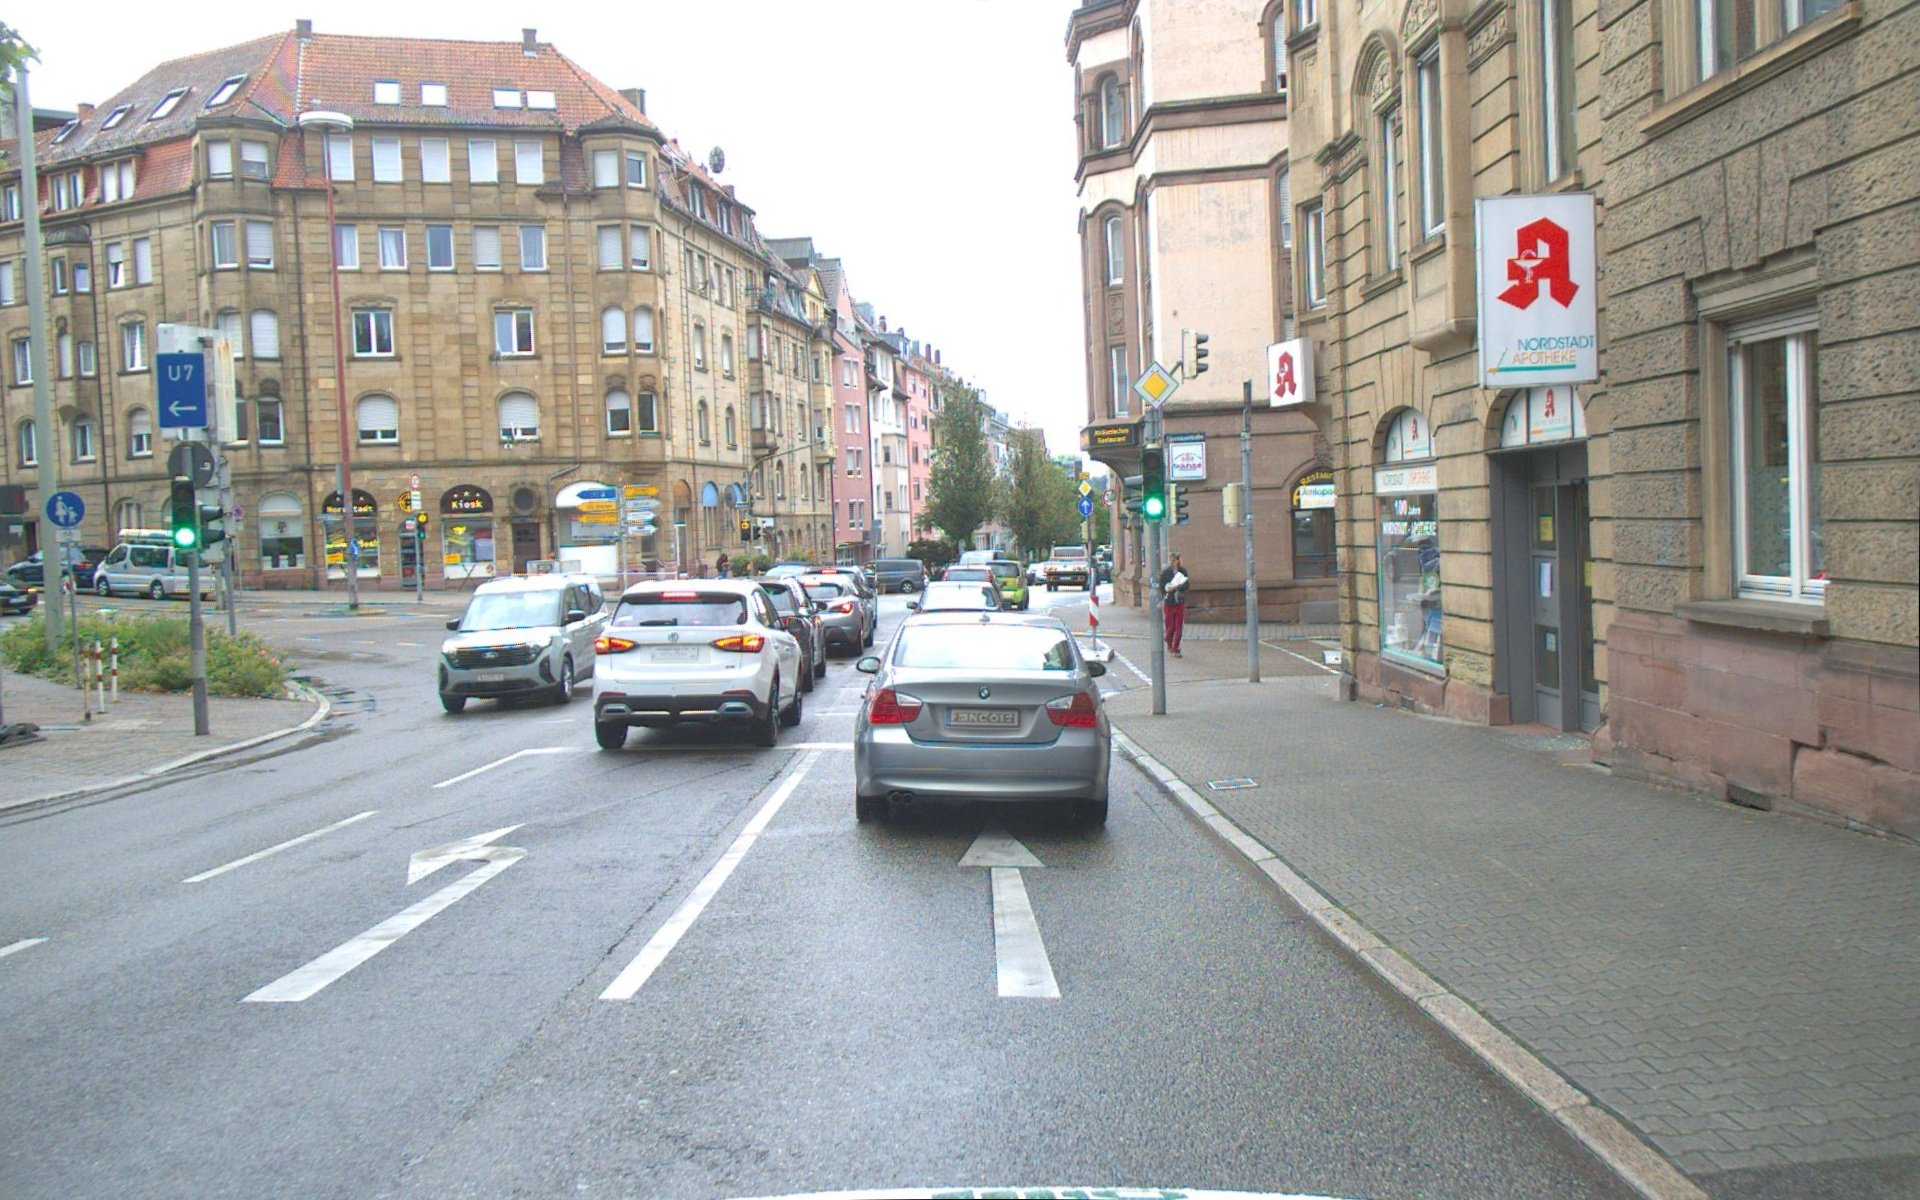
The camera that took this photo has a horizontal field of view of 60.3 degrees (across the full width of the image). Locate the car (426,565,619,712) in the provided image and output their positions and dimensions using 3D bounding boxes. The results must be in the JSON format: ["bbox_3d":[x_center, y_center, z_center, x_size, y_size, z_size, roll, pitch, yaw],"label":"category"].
[{"bbox_3d":[-6.380,0.509,24.598,1.725,1.959,4.323,-1,0,-1],"label":"car"}]

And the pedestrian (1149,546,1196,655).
[{"bbox_3d":[3.856,0.013,30.068,0.727,1.943,0.659,-1,0,-1],"label":"pedestrian"}]

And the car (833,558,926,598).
[{"bbox_3d":[-4.506,-1.219,93.482,5.071,2.049,2.698,1,-1,-1],"label":"car"}]

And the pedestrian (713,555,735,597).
[{"bbox_3d":[-9.141,-0.920,64.051,0.716,1.605,0.528,-1,0,8],"label":"pedestrian"}]

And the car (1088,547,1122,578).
[{"bbox_3d":[8.386,-2.151,96.039,1.689,1.580,4.001,1,-1,2],"label":"car"}]

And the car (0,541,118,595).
[{"bbox_3d":[-33.409,-1.214,61.182,4.197,1.870,1.997,2,2,28],"label":"car"}]

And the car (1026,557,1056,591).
[{"bbox_3d":[5.233,-1.645,106.450,1.689,2.049,4.002,1,-1,5],"label":"car"}]

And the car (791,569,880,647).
[{"bbox_3d":[-2.857,0.166,38.677,1.723,1.737,4.000,0,0,1],"label":"car"}]

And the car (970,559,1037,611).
[{"bbox_3d":[1.444,-0.491,53.465,1.722,1.594,4.003,0,0,8],"label":"car"}]

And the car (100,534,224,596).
[{"bbox_3d":[-28.774,-1.293,59.621,4.197,2.138,1.997,2,2,28],"label":"car"}]

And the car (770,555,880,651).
[{"bbox_3d":[-2.552,0.040,31.973,1.723,1.737,4.000,0,0,1],"label":"car"}]

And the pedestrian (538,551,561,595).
[{"bbox_3d":[-15.333,-0.996,61.767,0.709,1.605,0.533,-1,0,-28],"label":"pedestrian"}]

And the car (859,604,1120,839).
[{"bbox_3d":[0.210,0.747,11.902,1.590,1.407,3.615,0,0,1],"label":"car"}]

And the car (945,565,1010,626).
[{"bbox_3d":[0.470,-0.130,42.692,1.562,1.490,4.001,-1,0,1],"label":"car"}]

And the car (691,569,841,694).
[{"bbox_3d":[-2.859,0.432,25.148,1.723,1.737,4.000,0,0,1],"label":"car"}]

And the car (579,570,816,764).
[{"bbox_3d":[-2.619,0.589,17.410,1.830,1.653,4.000,-2,2,-1],"label":"car"}]

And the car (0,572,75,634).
[{"bbox_3d":[-28.617,0.056,49.379,4.157,1.756,1.996,1,2,31],"label":"car"}]

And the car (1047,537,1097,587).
[{"bbox_3d":[5.029,-1.695,74.774,1.953,2.143,4.000,0,0,0],"label":"car"}]

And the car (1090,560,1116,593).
[{"bbox_3d":[9.435,-1.515,108.933,1.689,2.049,4.002,1,-1,5],"label":"car"}]

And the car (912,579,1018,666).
[{"bbox_3d":[0.114,0.362,29.072,1.723,1.407,4.001,0,0,1],"label":"car"}]
